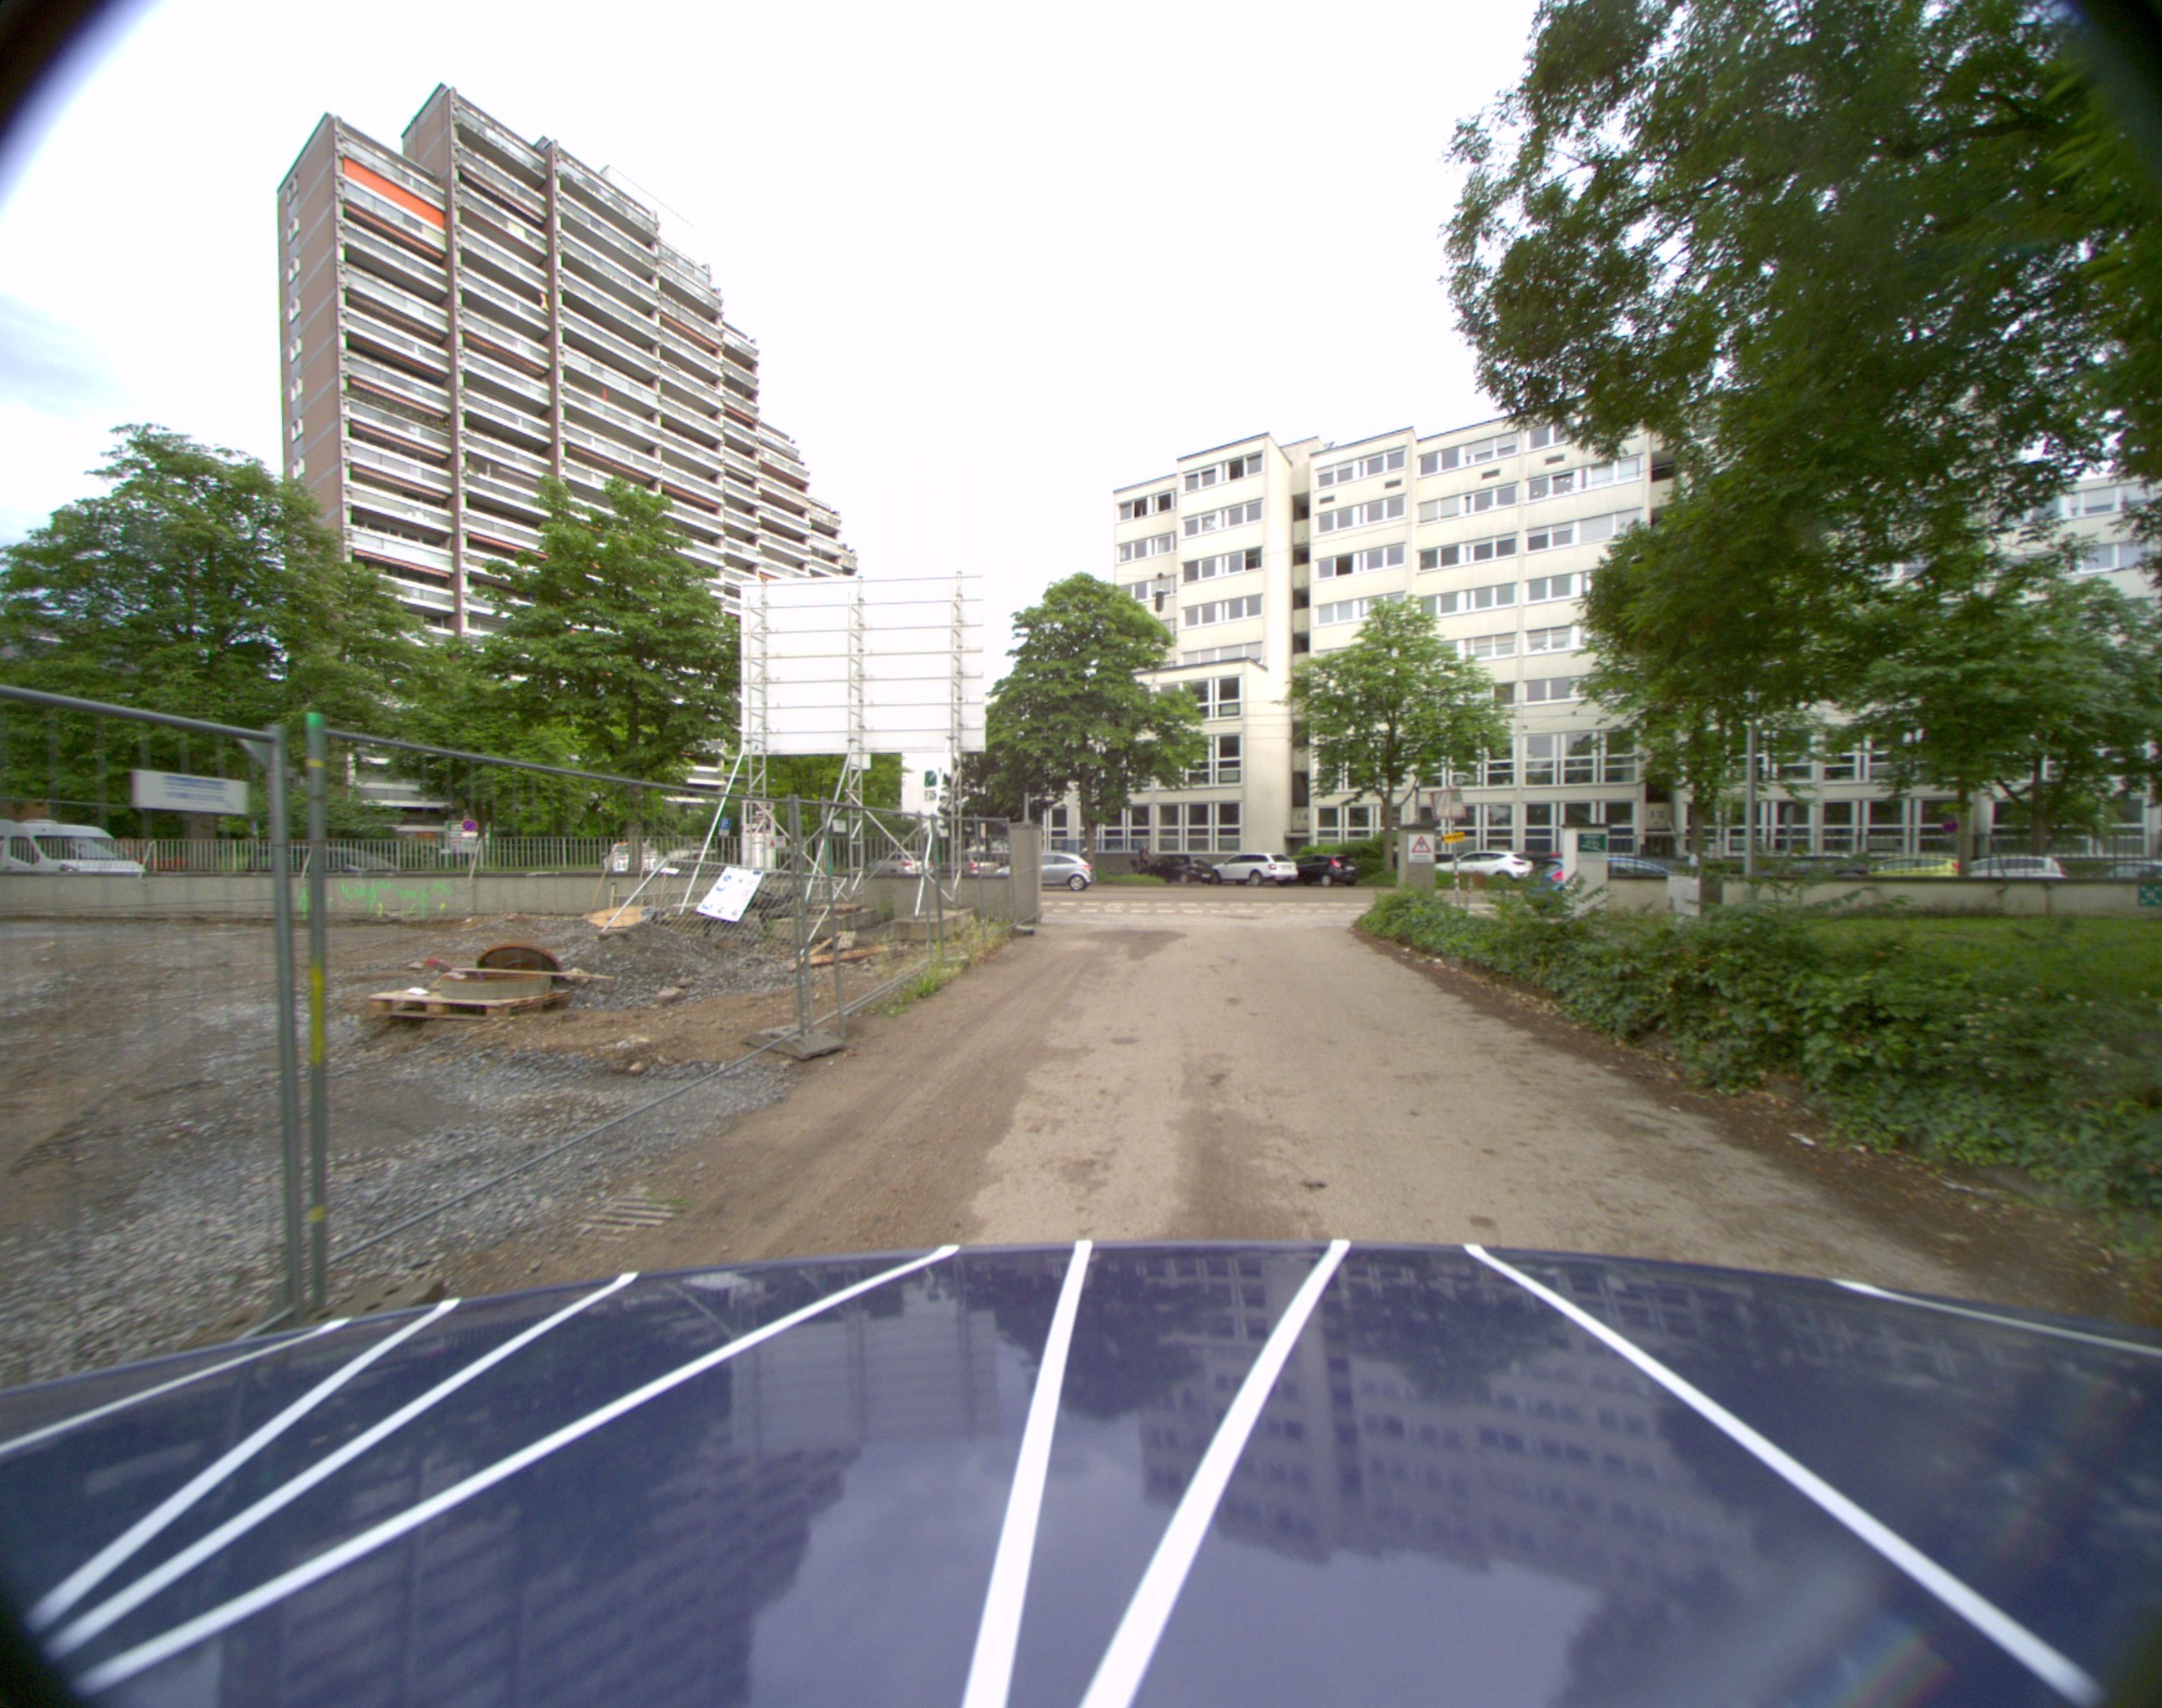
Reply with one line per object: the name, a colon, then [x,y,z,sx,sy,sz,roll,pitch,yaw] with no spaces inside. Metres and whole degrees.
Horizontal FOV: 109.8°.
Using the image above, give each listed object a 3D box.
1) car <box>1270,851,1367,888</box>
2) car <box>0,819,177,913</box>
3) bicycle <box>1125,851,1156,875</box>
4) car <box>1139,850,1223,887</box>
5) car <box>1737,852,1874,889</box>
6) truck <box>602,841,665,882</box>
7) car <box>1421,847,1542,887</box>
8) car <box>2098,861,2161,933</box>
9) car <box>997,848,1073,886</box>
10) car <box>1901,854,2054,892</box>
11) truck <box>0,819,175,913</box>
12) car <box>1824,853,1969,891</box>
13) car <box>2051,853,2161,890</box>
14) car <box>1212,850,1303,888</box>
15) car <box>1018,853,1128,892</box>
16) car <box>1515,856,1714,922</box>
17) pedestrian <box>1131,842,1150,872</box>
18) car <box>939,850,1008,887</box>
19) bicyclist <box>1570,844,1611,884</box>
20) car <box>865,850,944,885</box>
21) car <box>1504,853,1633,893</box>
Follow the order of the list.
car: [10.630,0.647,34.270,1.702,1.398,4.017,-1,2,-31]
car: [-30.376,0.311,22.343,5.484,2.588,2.120,0,2,6]
bicycle: [3.163,0.463,40.568,1.592,1.261,0.406,0,1,16]
car: [4.511,0.612,34.811,1.703,1.515,3.695,-2,3,-38]
car: [30.445,0.638,32.042,1.703,1.344,3.956,-2,3,-39]
truck: [-22.232,0.300,37.667,2.004,1.838,5.049,-1,2,-38]
car: [17.510,0.514,33.388,1.703,1.547,4.333,-2,3,-42]
car: [24.578,0.926,16.143,3.561,1.473,1.480,0,3,6]
car: [-2.166,0.544,34.931,1.703,1.515,3.695,-2,3,-38]
car: [36.732,0.720,31.241,1.703,1.344,3.956,-2,3,-39]
truck: [-30.439,0.311,22.350,5.484,2.588,2.120,0,2,6]
car: [33.805,0.682,31.597,1.703,1.344,3.956,-2,3,-39]
car: [41.796,0.680,30.179,1.703,1.344,3.956,-2,3,-39]
car: [7.875,0.639,34.247,1.702,1.476,4.017,-1,2,-31]
car: [-0.269,0.679,28.837,3.995,1.420,1.747,0,1,6]
car: [12.343,0.781,17.774,3.428,1.452,1.680,0,0,6]
pedestrian: [3.239,0.147,41.127,0.753,1.603,0.735,3,4,27]
car: [-5.026,0.626,35.359,1.576,1.515,3.640,-2,3,-38]
bicyclist: [19.437,0.380,29.018,1.026,1.491,0.846,0,1,7]
car: [-8.458,0.573,36.095,1.807,1.456,4.419,-1,2,-41]
car: [20.846,0.758,32.669,1.703,1.446,4.333,-2,3,-39]
